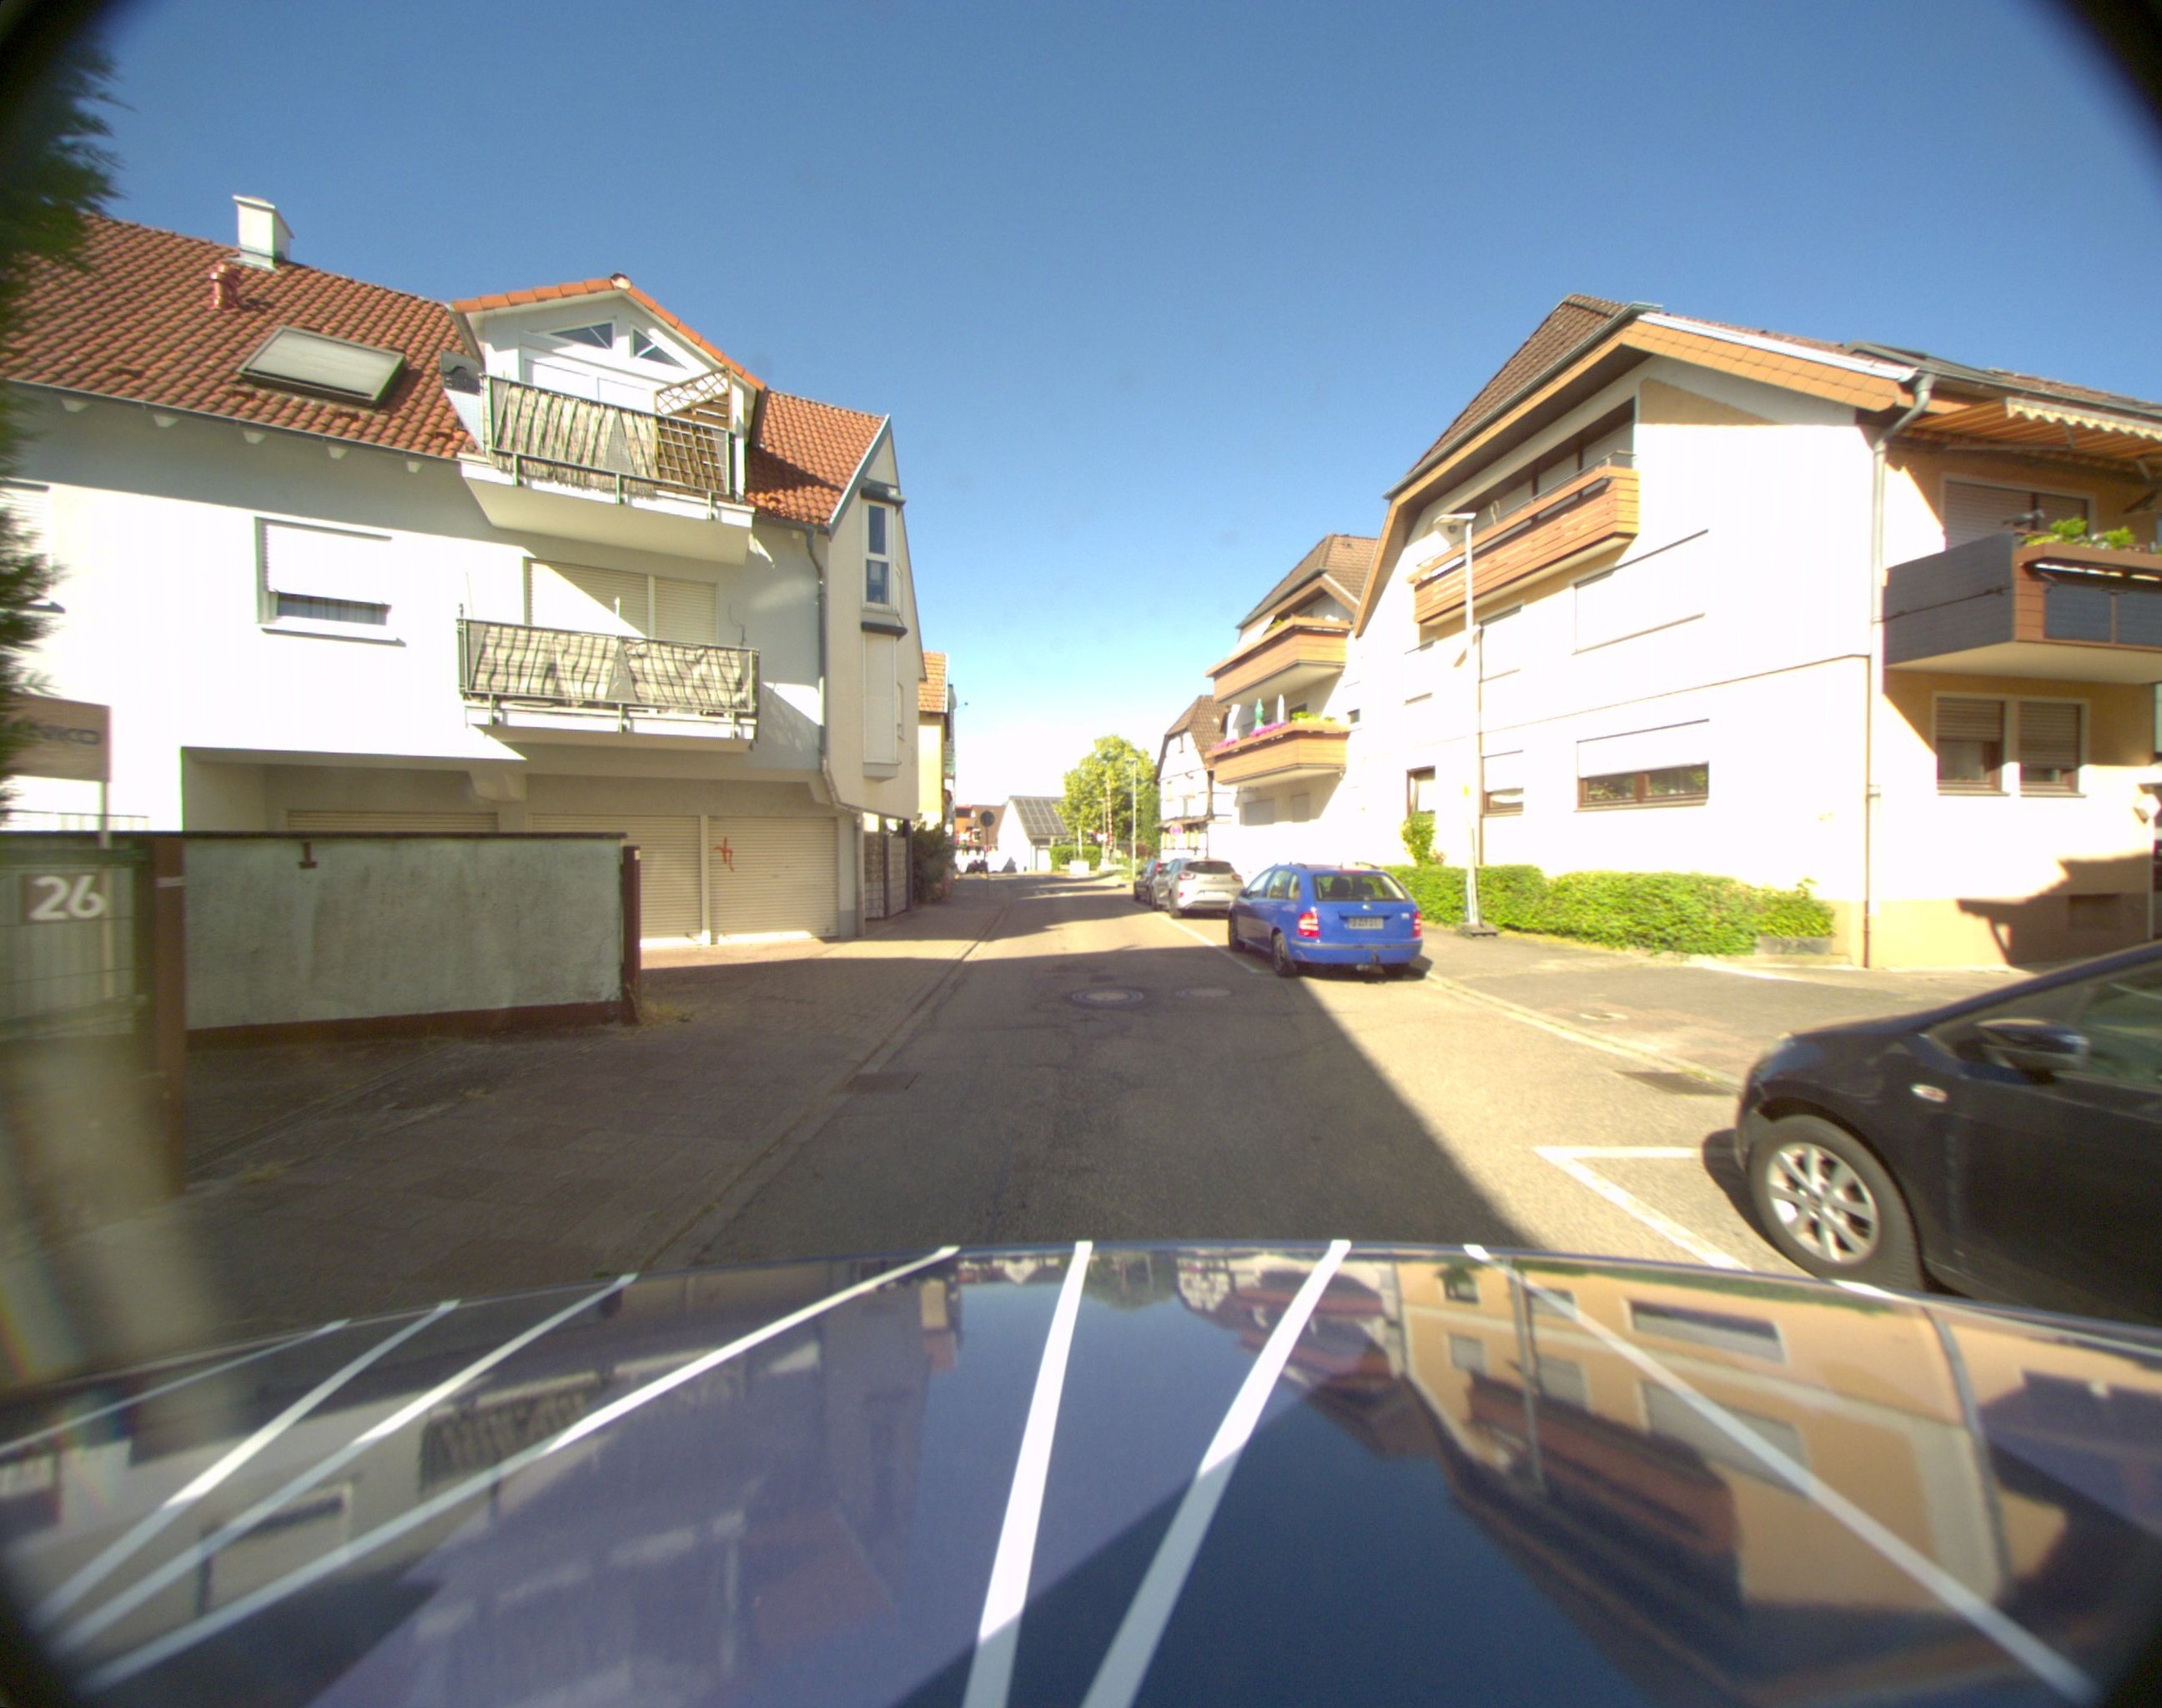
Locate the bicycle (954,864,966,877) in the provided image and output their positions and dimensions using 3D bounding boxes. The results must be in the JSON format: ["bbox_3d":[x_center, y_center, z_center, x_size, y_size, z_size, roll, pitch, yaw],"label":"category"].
[{"bbox_3d":[-11.642,1.584,73.027,0.641,1.175,2.017,0,0,-23],"label":"bicycle"}]

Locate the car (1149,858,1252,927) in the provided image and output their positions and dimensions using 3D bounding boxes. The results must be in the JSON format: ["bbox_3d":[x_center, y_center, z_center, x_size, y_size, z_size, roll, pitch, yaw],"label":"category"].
[{"bbox_3d":[2.915,0.890,19.357,1.764,1.547,3.998,0,0,-4],"label":"car"}]

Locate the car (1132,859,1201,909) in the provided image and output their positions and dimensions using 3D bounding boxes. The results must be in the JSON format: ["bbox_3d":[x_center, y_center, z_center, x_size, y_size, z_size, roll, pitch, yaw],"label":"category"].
[{"bbox_3d":[2.694,0.911,24.689,1.628,1.468,3.614,0,0,-4],"label":"car"}]

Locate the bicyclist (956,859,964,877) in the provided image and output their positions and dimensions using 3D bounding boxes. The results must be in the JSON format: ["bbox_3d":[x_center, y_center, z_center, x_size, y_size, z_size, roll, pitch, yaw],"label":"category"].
[{"bbox_3d":[-11.598,1.354,72.920,0.644,1.655,0.604,0,1,-23],"label":"bicyclist"}]

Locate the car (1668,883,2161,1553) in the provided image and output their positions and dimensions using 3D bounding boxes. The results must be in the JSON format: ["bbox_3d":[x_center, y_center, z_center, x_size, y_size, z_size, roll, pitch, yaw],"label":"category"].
[{"bbox_3d":[3.346,0.880,1.400,1.659,1.498,3.683,0,0,0],"label":"car"}]

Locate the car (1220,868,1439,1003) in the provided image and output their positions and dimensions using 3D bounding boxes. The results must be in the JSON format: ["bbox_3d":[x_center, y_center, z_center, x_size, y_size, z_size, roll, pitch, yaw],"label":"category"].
[{"bbox_3d":[3.153,0.953,10.503,1.623,1.431,3.955,0,0,-2],"label":"car"}]

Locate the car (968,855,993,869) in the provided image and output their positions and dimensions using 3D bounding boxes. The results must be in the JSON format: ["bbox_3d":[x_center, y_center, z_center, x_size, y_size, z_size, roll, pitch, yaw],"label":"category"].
[{"bbox_3d":[-10.348,0.812,78.010,1.549,1.450,3.708,-1,0,-23],"label":"car"}]
